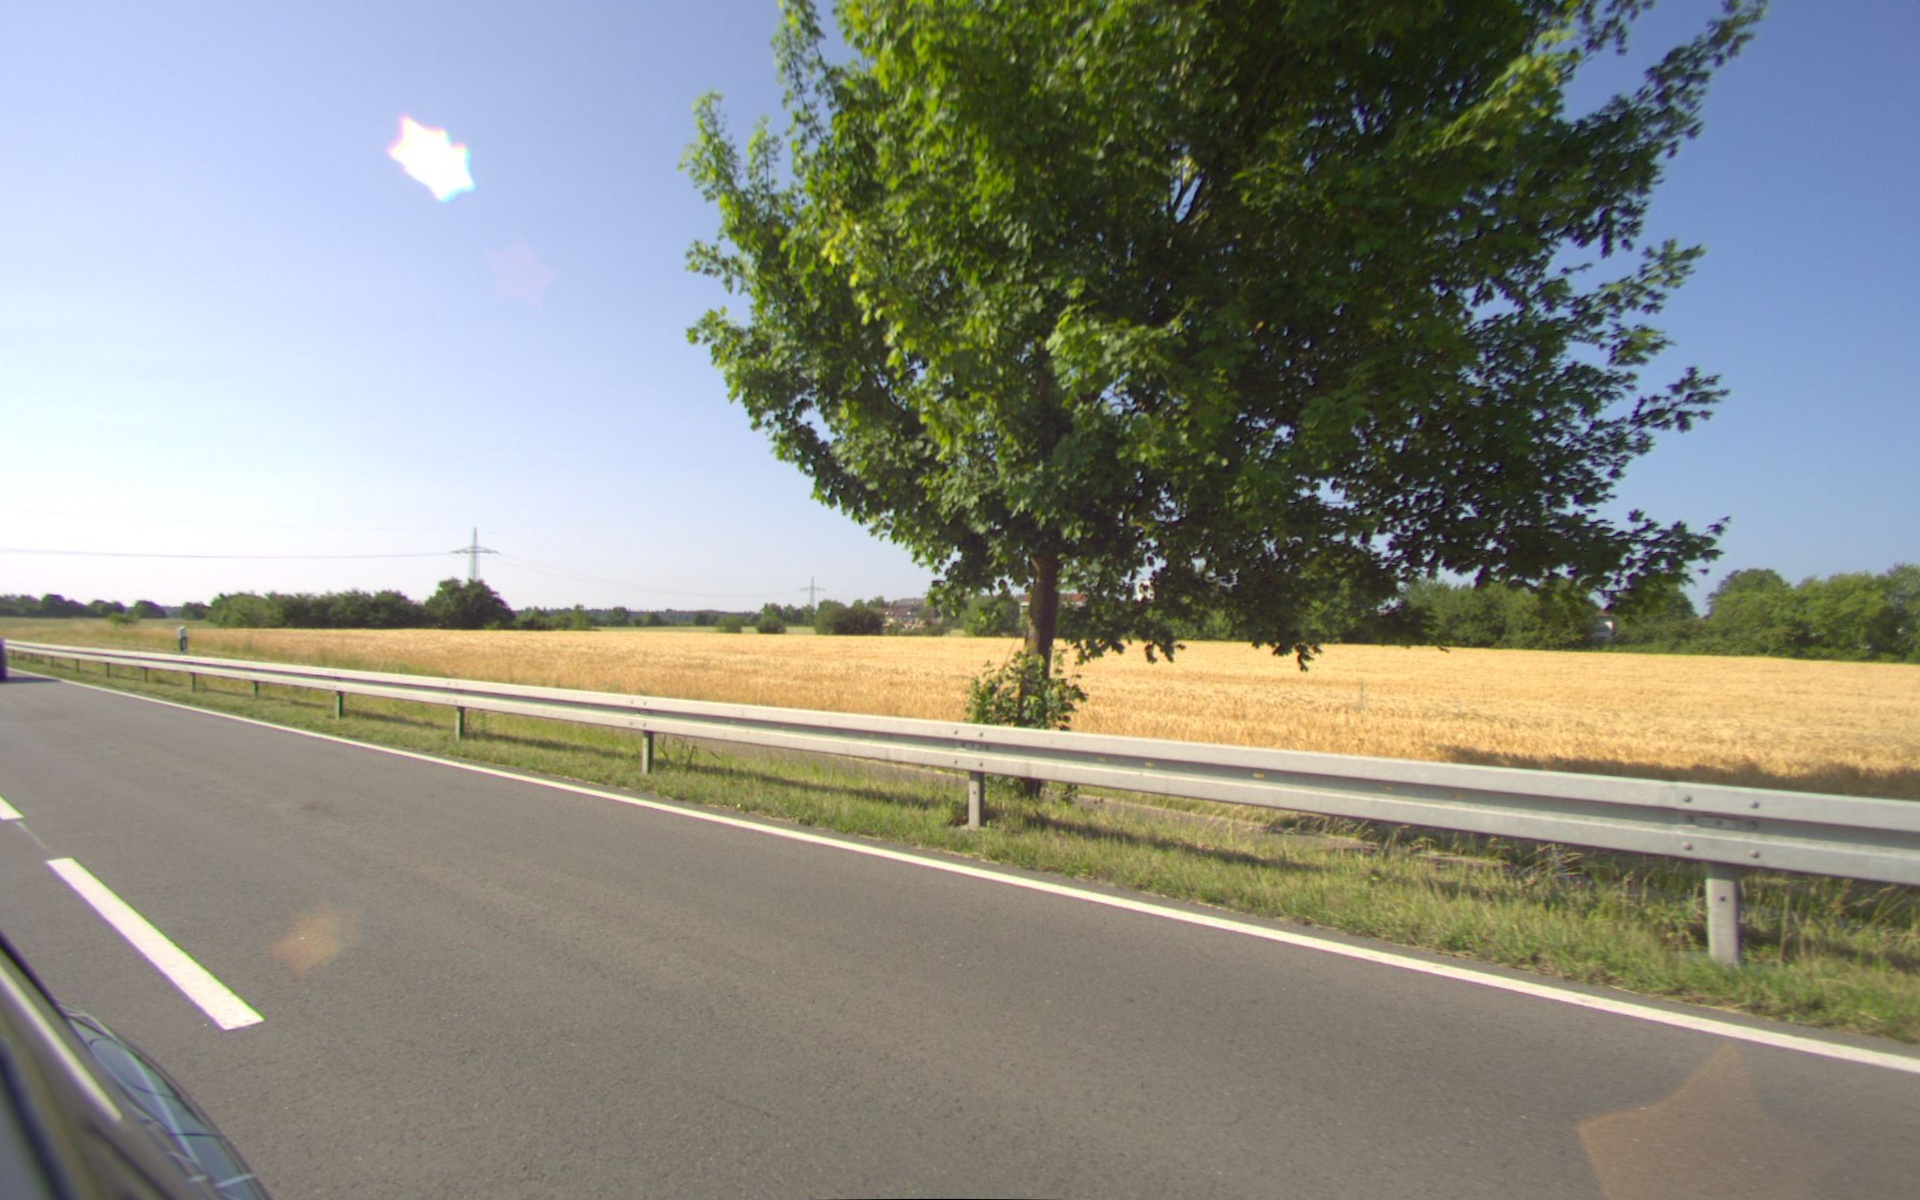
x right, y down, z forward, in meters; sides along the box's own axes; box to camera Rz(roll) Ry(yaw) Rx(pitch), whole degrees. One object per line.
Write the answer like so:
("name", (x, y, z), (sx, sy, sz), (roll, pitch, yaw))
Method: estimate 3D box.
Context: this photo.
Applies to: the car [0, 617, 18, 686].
("car", (-24.963, 1.206, 24.919), (4.824, 1.597, 1.988), (0, -2, 40))
